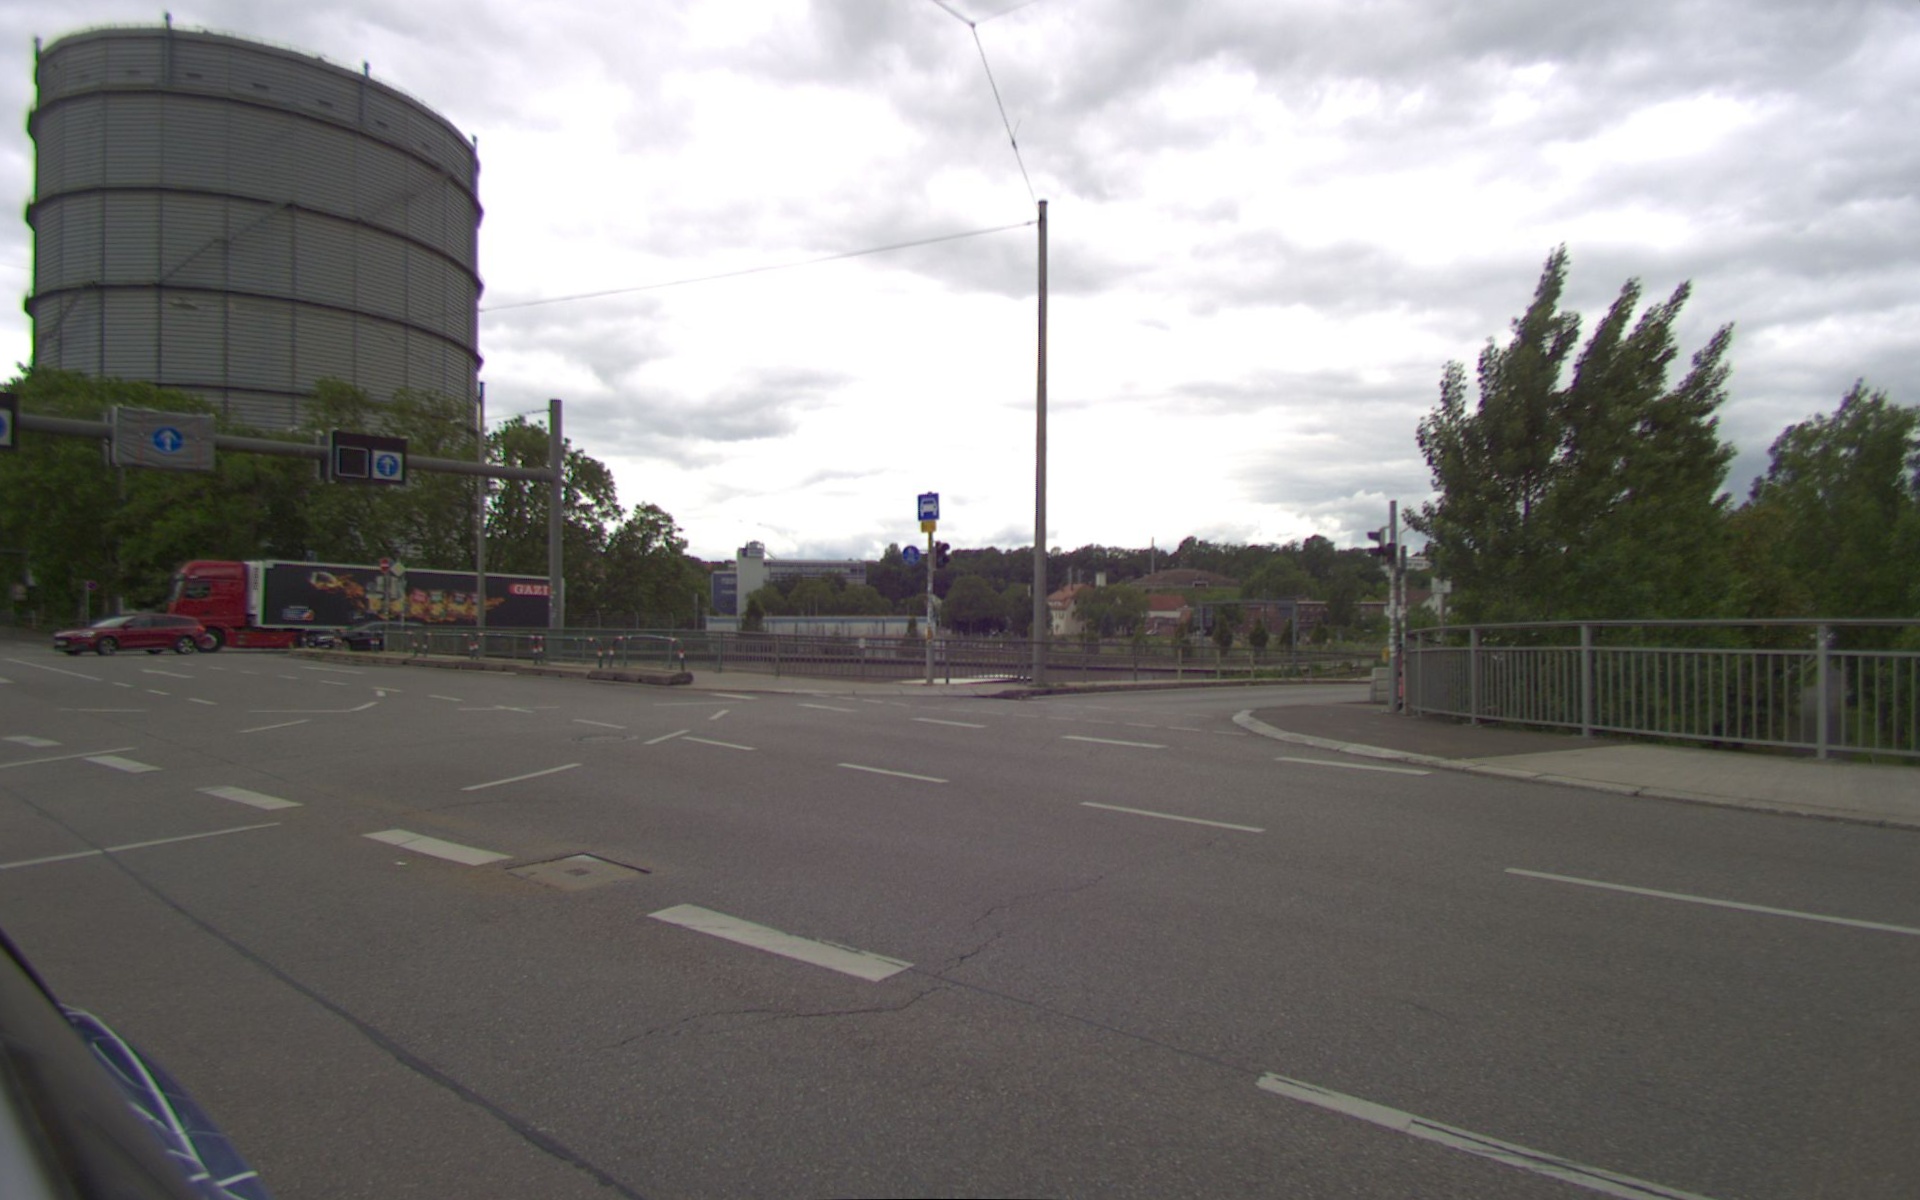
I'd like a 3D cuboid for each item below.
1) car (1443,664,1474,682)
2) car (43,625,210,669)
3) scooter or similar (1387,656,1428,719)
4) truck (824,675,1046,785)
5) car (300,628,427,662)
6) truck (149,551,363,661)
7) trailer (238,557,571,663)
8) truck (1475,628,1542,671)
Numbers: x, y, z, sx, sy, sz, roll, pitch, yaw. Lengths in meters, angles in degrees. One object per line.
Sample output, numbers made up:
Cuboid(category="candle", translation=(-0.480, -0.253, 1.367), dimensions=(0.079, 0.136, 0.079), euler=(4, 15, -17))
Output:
Cuboid(category="car", translation=(54.356, 7.926, 110.282), dimensions=(3.585, 1.730, 1.915), euler=(3, -1, -44))
Cuboid(category="car", translation=(-29.759, 1.638, 36.314), dimensions=(1.684, 1.431, 4.440), euler=(-1, -1, 19))
Cuboid(category="scooter or similar", translation=(7.918, 1.529, 17.887), dimensions=(0.483, 1.064, 1.321), euler=(-1, -3, 32))
Cuboid(category="truck", translation=(-0.891, 6.448, 52.631), dimensions=(13.060, 4.389, 2.893), euler=(1, 0, -44))
Cuboid(category="car", translation=(-25.701, 1.962, 43.748), dimensions=(1.698, 1.431, 4.404), euler=(-1, -4, 43))
Cuboid(category="truck", translation=(-30.859, 0.426, 44.557), dimensions=(7.125, 4.354, 3.675), euler=(4, -4, -43))
Cuboid(category="trailer", translation=(-26.379, 0.748, 49.145), dimensions=(3.673, 4.354, 13.581), euler=(-2, -4, 44))
Cuboid(category="truck", translation=(68.790, 6.042, 126.753), dimensions=(13.729, 4.992, 3.382), euler=(1, -1, -44))
